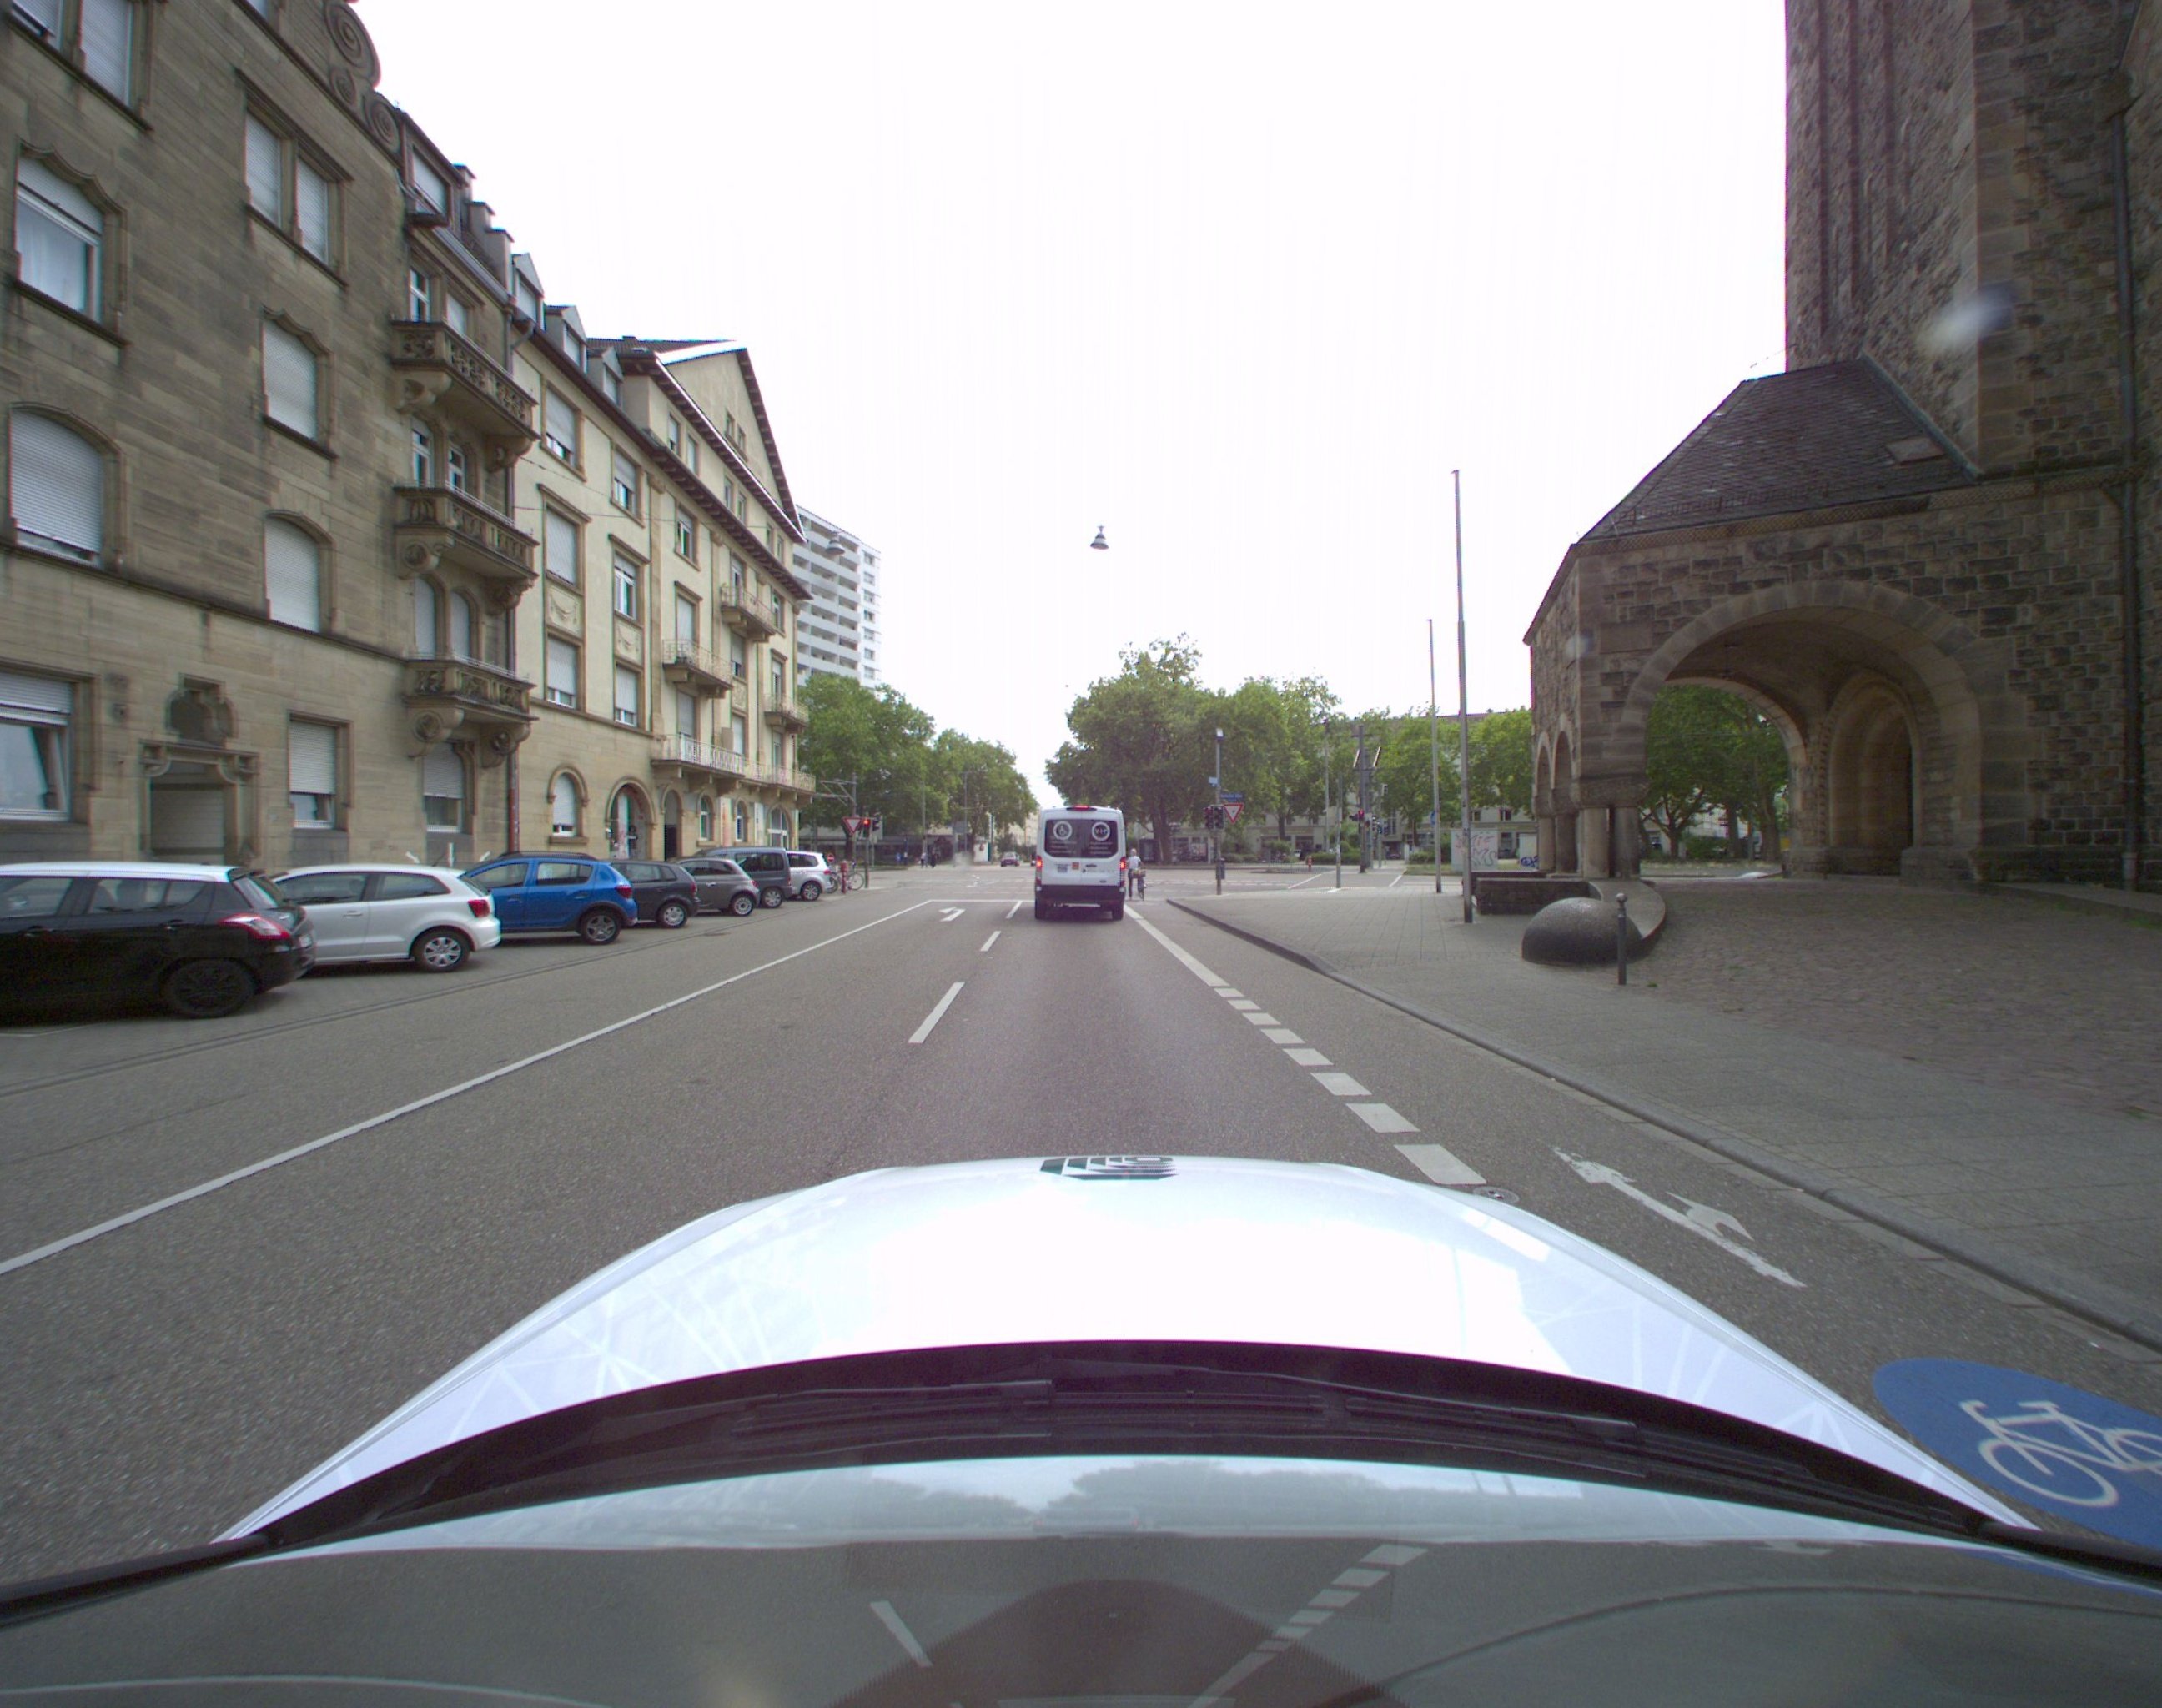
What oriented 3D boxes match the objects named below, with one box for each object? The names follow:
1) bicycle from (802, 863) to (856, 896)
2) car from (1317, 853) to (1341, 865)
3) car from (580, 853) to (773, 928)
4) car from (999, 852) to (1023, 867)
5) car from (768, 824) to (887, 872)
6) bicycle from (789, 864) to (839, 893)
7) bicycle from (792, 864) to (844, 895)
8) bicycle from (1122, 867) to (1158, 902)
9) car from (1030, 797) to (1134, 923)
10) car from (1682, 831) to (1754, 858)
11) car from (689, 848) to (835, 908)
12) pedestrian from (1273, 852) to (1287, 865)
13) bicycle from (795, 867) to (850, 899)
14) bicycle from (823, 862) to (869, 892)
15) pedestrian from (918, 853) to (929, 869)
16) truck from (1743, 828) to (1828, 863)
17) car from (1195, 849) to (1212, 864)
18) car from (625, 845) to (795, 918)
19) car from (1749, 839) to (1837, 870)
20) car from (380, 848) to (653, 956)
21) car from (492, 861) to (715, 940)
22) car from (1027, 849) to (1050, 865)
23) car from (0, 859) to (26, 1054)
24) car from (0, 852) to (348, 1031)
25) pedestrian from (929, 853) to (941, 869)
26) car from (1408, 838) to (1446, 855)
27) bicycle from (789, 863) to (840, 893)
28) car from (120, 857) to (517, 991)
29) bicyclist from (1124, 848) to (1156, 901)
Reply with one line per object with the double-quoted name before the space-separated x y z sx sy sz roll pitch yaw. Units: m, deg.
"bicycle" -9.482 0.952 30.691 1.802 1.120 0.594 3 0 2
"car" 31.337 0.610 103.062 1.985 1.503 4.004 -1 0 3
"car" -10.060 0.825 20.414 4.033 1.652 1.775 -1 0 -41
"car" -7.173 0.580 83.575 1.613 1.476 4.007 -1 0 6
"car" -21.734 -0.442 69.767 9.797 3.915 3.474 -1 0 23
"bicycle" -10.697 0.983 32.698 1.809 1.120 0.592 1 -1 -9
"bicycle" -10.131 0.972 31.408 1.809 1.166 0.592 1 -1 -9
"bicycle" 1.899 0.977 26.698 0.901 1.075 1.967 -1 0 -4
"car" -0.084 0.099 19.586 2.176 2.647 4.624 1 1 -3
"car" 65.226 -0.920 83.501 5.274 2.585 2.511 -1 -2 21
"car" -10.290 0.728 26.394 4.033 1.773 1.775 -1 0 -41
"pedestrian" 20.778 0.466 84.933 1.087 1.236 1.442 -3 -1 3
"bicycle" -9.520 1.073 30.018 1.801 1.120 0.595 -1 0 5
"bicycle" -9.758 0.954 33.847 1.860 1.167 0.500 1 -1 19
"pedestrian" -14.766 0.653 76.482 0.801 1.572 0.726 -1 0 13
"truck" 54.866 -0.646 63.623 3.044 2.577 6.546 -1 0 22
"car" 16.358 0.369 108.948 1.985 1.930 4.004 -1 0 3
"car" -10.431 0.706 23.036 4.033 1.879 1.775 -1 0 -41
"car" 62.101 0.110 71.163 5.274 2.585 2.191 -1 -2 21
"car" -9.877 0.748 14.469 3.796 1.652 1.705 -1 0 -38
"car" -10.115 0.901 17.365 3.922 1.443 1.816 -1 0 -37
"car" -4.283 0.291 83.071 1.724 1.592 4.007 -1 0 6
"car" -9.745 0.811 4.793 4.015 1.503 1.613 -1 0 -37
"car" -10.066 0.794 7.993 4.028 1.564 1.778 -1 0 -34
"pedestrian" -13.687 0.663 76.455 0.923 1.514 0.726 -1 0 13
"car" 39.764 -0.823 93.740 3.952 1.883 1.867 -1 0 23
"bicycle" -10.472 0.951 32.009 1.809 1.120 0.592 1 -1 -9
"car" -9.973 0.804 11.078 3.703 1.481 1.722 -1 0 -38
"bicyclist" 1.910 0.662 26.512 0.902 1.683 0.755 -1 0 -5
